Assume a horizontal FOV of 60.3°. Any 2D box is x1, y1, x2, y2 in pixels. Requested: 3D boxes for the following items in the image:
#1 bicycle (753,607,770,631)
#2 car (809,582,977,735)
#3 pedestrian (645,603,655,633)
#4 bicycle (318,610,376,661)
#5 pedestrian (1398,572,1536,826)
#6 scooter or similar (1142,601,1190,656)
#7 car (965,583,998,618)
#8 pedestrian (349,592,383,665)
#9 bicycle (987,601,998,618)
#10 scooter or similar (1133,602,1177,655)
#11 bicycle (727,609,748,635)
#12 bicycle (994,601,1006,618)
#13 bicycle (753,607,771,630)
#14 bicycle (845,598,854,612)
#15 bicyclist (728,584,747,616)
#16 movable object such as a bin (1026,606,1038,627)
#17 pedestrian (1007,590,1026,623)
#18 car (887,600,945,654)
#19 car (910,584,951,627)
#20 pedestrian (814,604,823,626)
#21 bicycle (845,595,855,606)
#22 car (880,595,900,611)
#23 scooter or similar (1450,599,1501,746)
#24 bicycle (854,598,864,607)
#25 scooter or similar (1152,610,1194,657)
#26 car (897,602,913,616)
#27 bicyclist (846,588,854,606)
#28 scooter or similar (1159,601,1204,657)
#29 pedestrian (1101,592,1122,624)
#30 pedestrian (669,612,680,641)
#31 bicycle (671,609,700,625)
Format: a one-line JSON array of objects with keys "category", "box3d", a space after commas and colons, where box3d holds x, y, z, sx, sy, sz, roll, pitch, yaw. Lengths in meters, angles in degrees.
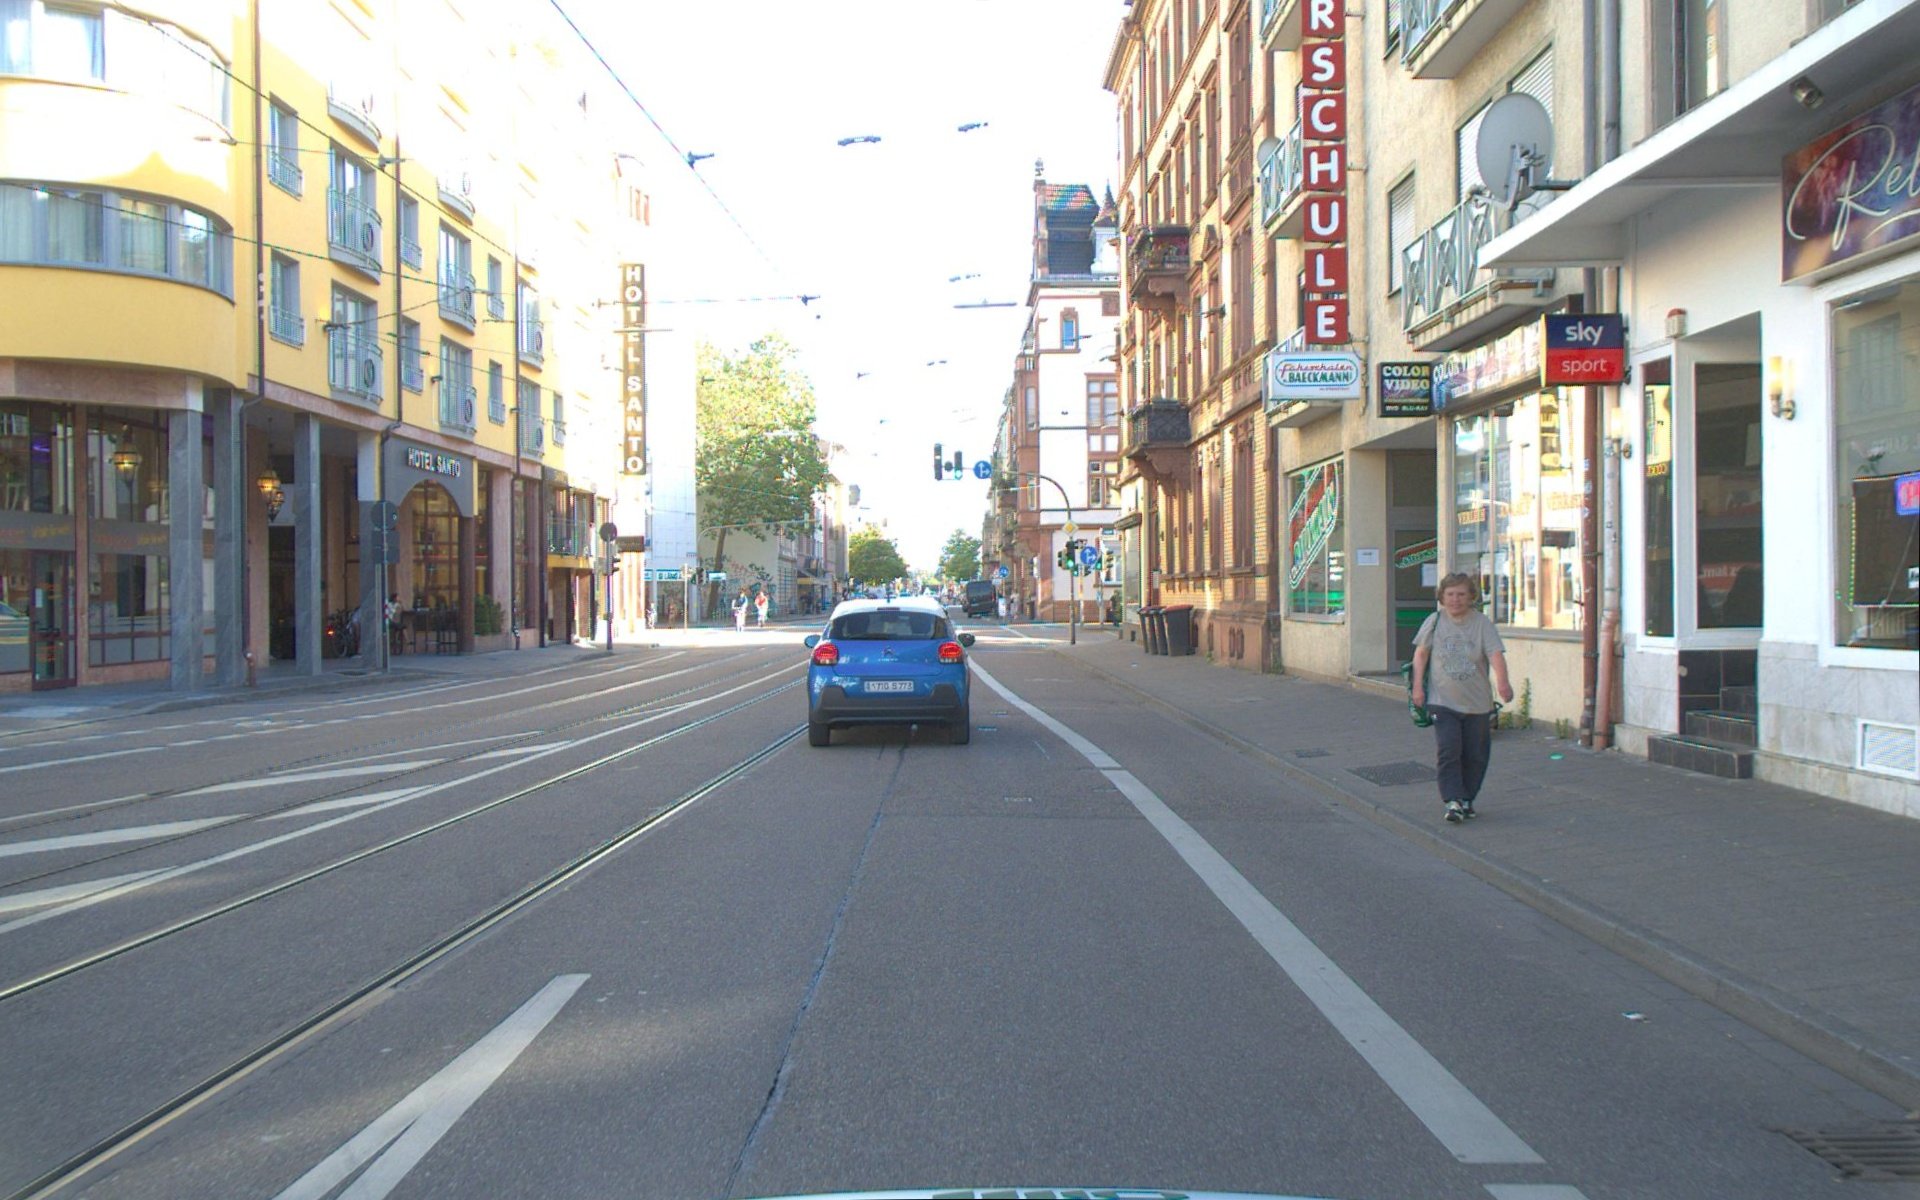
[{"category": "bicycle", "box3d": [-10.127, 0.953, 84.421, 0.716, 1.204, 2.061, 0, 0, -2]}, {"category": "car", "box3d": [-0.765, 0.571, 18.353, 1.640, 1.503, 3.998, 1, 0, -3]}, {"category": "pedestrian", "box3d": [-14.695, 0.844, 78.435, 0.395, 1.435, 0.516, 0, -1, -2]}, {"category": "bicycle", "box3d": [-15.432, 0.879, 41.709, 0.569, 1.224, 2.081, 0, 0, 4]}, {"category": "pedestrian", "box3d": [3.278, 0.621, 10.751, 0.635, 1.588, 0.781, 0, 0, -2]}, {"category": "scooter or similar", "box3d": [4.736, 0.646, 38.003, 0.915, 1.168, 0.650, -5, 0, -3]}, {"category": "car", "box3d": [1.533, 0.015, 119.010, 2.225, 2.479, 5.719, 0, 0, -1]}, {"category": "pedestrian", "box3d": [-14.827, 0.695, 41.277, 0.549, 1.801, 0.723, 0, 0, 4]}, {"category": "bicycle", "box3d": [1.928, 0.565, 98.736, 0.423, 0.964, 1.760, 0, 0, -8]}, {"category": "scooter or similar", "box3d": [4.596, 0.664, 39.088, 0.879, 1.168, 0.547, -4, 0, -3]}, {"category": "bicycle", "box3d": [-9.841, 0.977, 73.299, 0.716, 1.107, 2.061, 0, 0, -2]}, {"category": "bicycle", "box3d": [2.383, 0.561, 98.819, 0.423, 0.964, 1.760, 0, 0, -8]}, {"category": "bicycle", "box3d": [-9.833, 0.900, 82.114, 0.716, 1.084, 2.061, 0, 0, -2]}, {"category": "bicycle", "box3d": [-9.417, 0.416, 141.364, 0.679, 1.140, 2.083, 0, 0, -2]}, {"category": "bicyclist", "box3d": [-9.852, -0.021, 73.243, 0.709, 1.405, 1.227, 0, 0, -2]}, {"category": "movable object such as a bin", "box3d": [4.053, 0.908, 93.043, 0.652, 1.174, 0.594, 0, 0, -3]}, {"category": "pedestrian", "box3d": [3.322, 0.395, 97.482, 0.693, 1.808, 0.672, -14, 1, -2]}, {"category": "car", "box3d": [-1.311, 0.761, 48.933, 1.633, 1.504, 3.999, -1, 0, -2]}, {"category": "car", "box3d": [-1.470, 0.272, 81.587, 1.953, 2.049, 3.999, -1, 0, -2]}, {"category": "pedestrian", "box3d": [-11.517, 1.222, 134.959, 0.696, 1.795, 0.570, -1, 0, -2]}, {"category": "bicycle", "box3d": [-13.984, 0.071, 210.484, 1.099, 1.342, 3.639, -1, 0, -6]}, {"category": "car", "box3d": [-7.157, 0.307, 169.802, 1.945, 1.528, 4.307, 0, 0, -2]}, {"category": "scooter or similar", "box3d": [4.779, 0.643, 15.380, 0.401, 1.304, 1.284, 0, 0, 15]}, {"category": "bicycle", "box3d": [-12.860, 0.325, 210.673, 1.099, 1.166, 3.639, -1, 0, -6]}, {"category": "scooter or similar", "box3d": [4.791, 0.748, 37.280, 0.775, 0.974, 0.680, -5, 0, -3]}, {"category": "car", "box3d": [-6.937, 1.147, 208.969, 1.953, 1.774, 4.561, 0, 0, -2]}, {"category": "bicyclist", "box3d": [-9.417, -0.253, 141.204, 0.668, 1.509, 0.778, -1, 0, -2]}, {"category": "scooter or similar", "box3d": [4.867, 0.634, 36.400, 0.775, 1.168, 0.789, -4, 0, -3]}, {"category": "pedestrian", "box3d": [7.151, 0.389, 78.098, 0.918, 1.482, 0.823, 0, 0, 8]}, {"category": "pedestrian", "box3d": [-15.575, 1.423, 90.315, 0.531, 1.579, 0.516, 0, 0, -2]}, {"category": "bicycle", "box3d": [-18.380, 1.131, 110.869, 1.878, 1.053, 0.665, 0, 0, 25]}]
